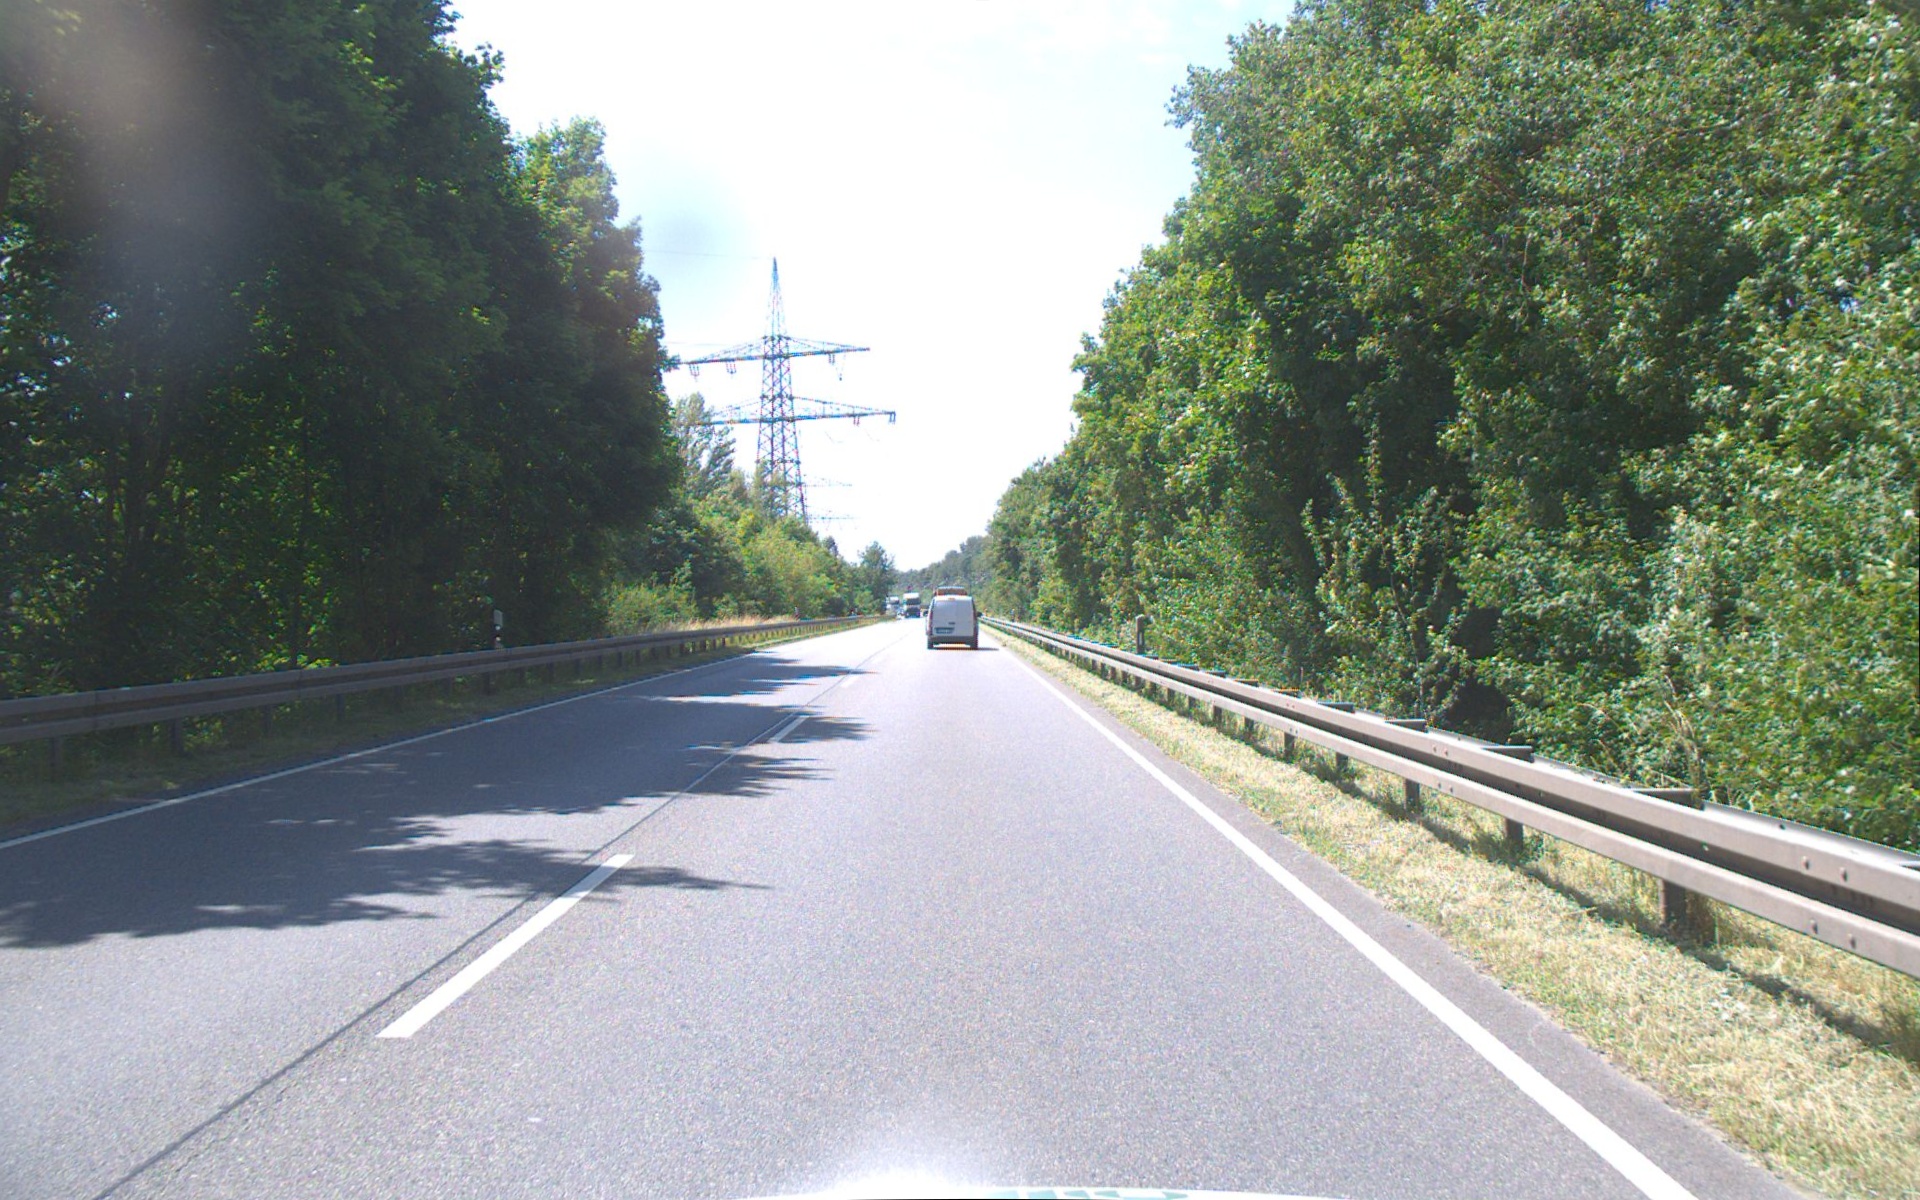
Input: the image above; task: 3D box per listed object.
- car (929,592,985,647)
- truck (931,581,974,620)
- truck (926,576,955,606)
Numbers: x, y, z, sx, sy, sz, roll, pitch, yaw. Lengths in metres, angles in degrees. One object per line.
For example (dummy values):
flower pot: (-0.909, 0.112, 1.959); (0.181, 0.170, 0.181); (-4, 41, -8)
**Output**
car: (-0.133, 0.647, 56.965); (1.837, 1.772, 4.000); (1, 1, -1)
truck: (-0.746, -0.035, 149.415); (3.231, 3.227, 14.397); (1, 1, -3)
truck: (-2.687, -1.287, 223.478); (3.334, 3.922, 16.809); (1, 1, -3)
